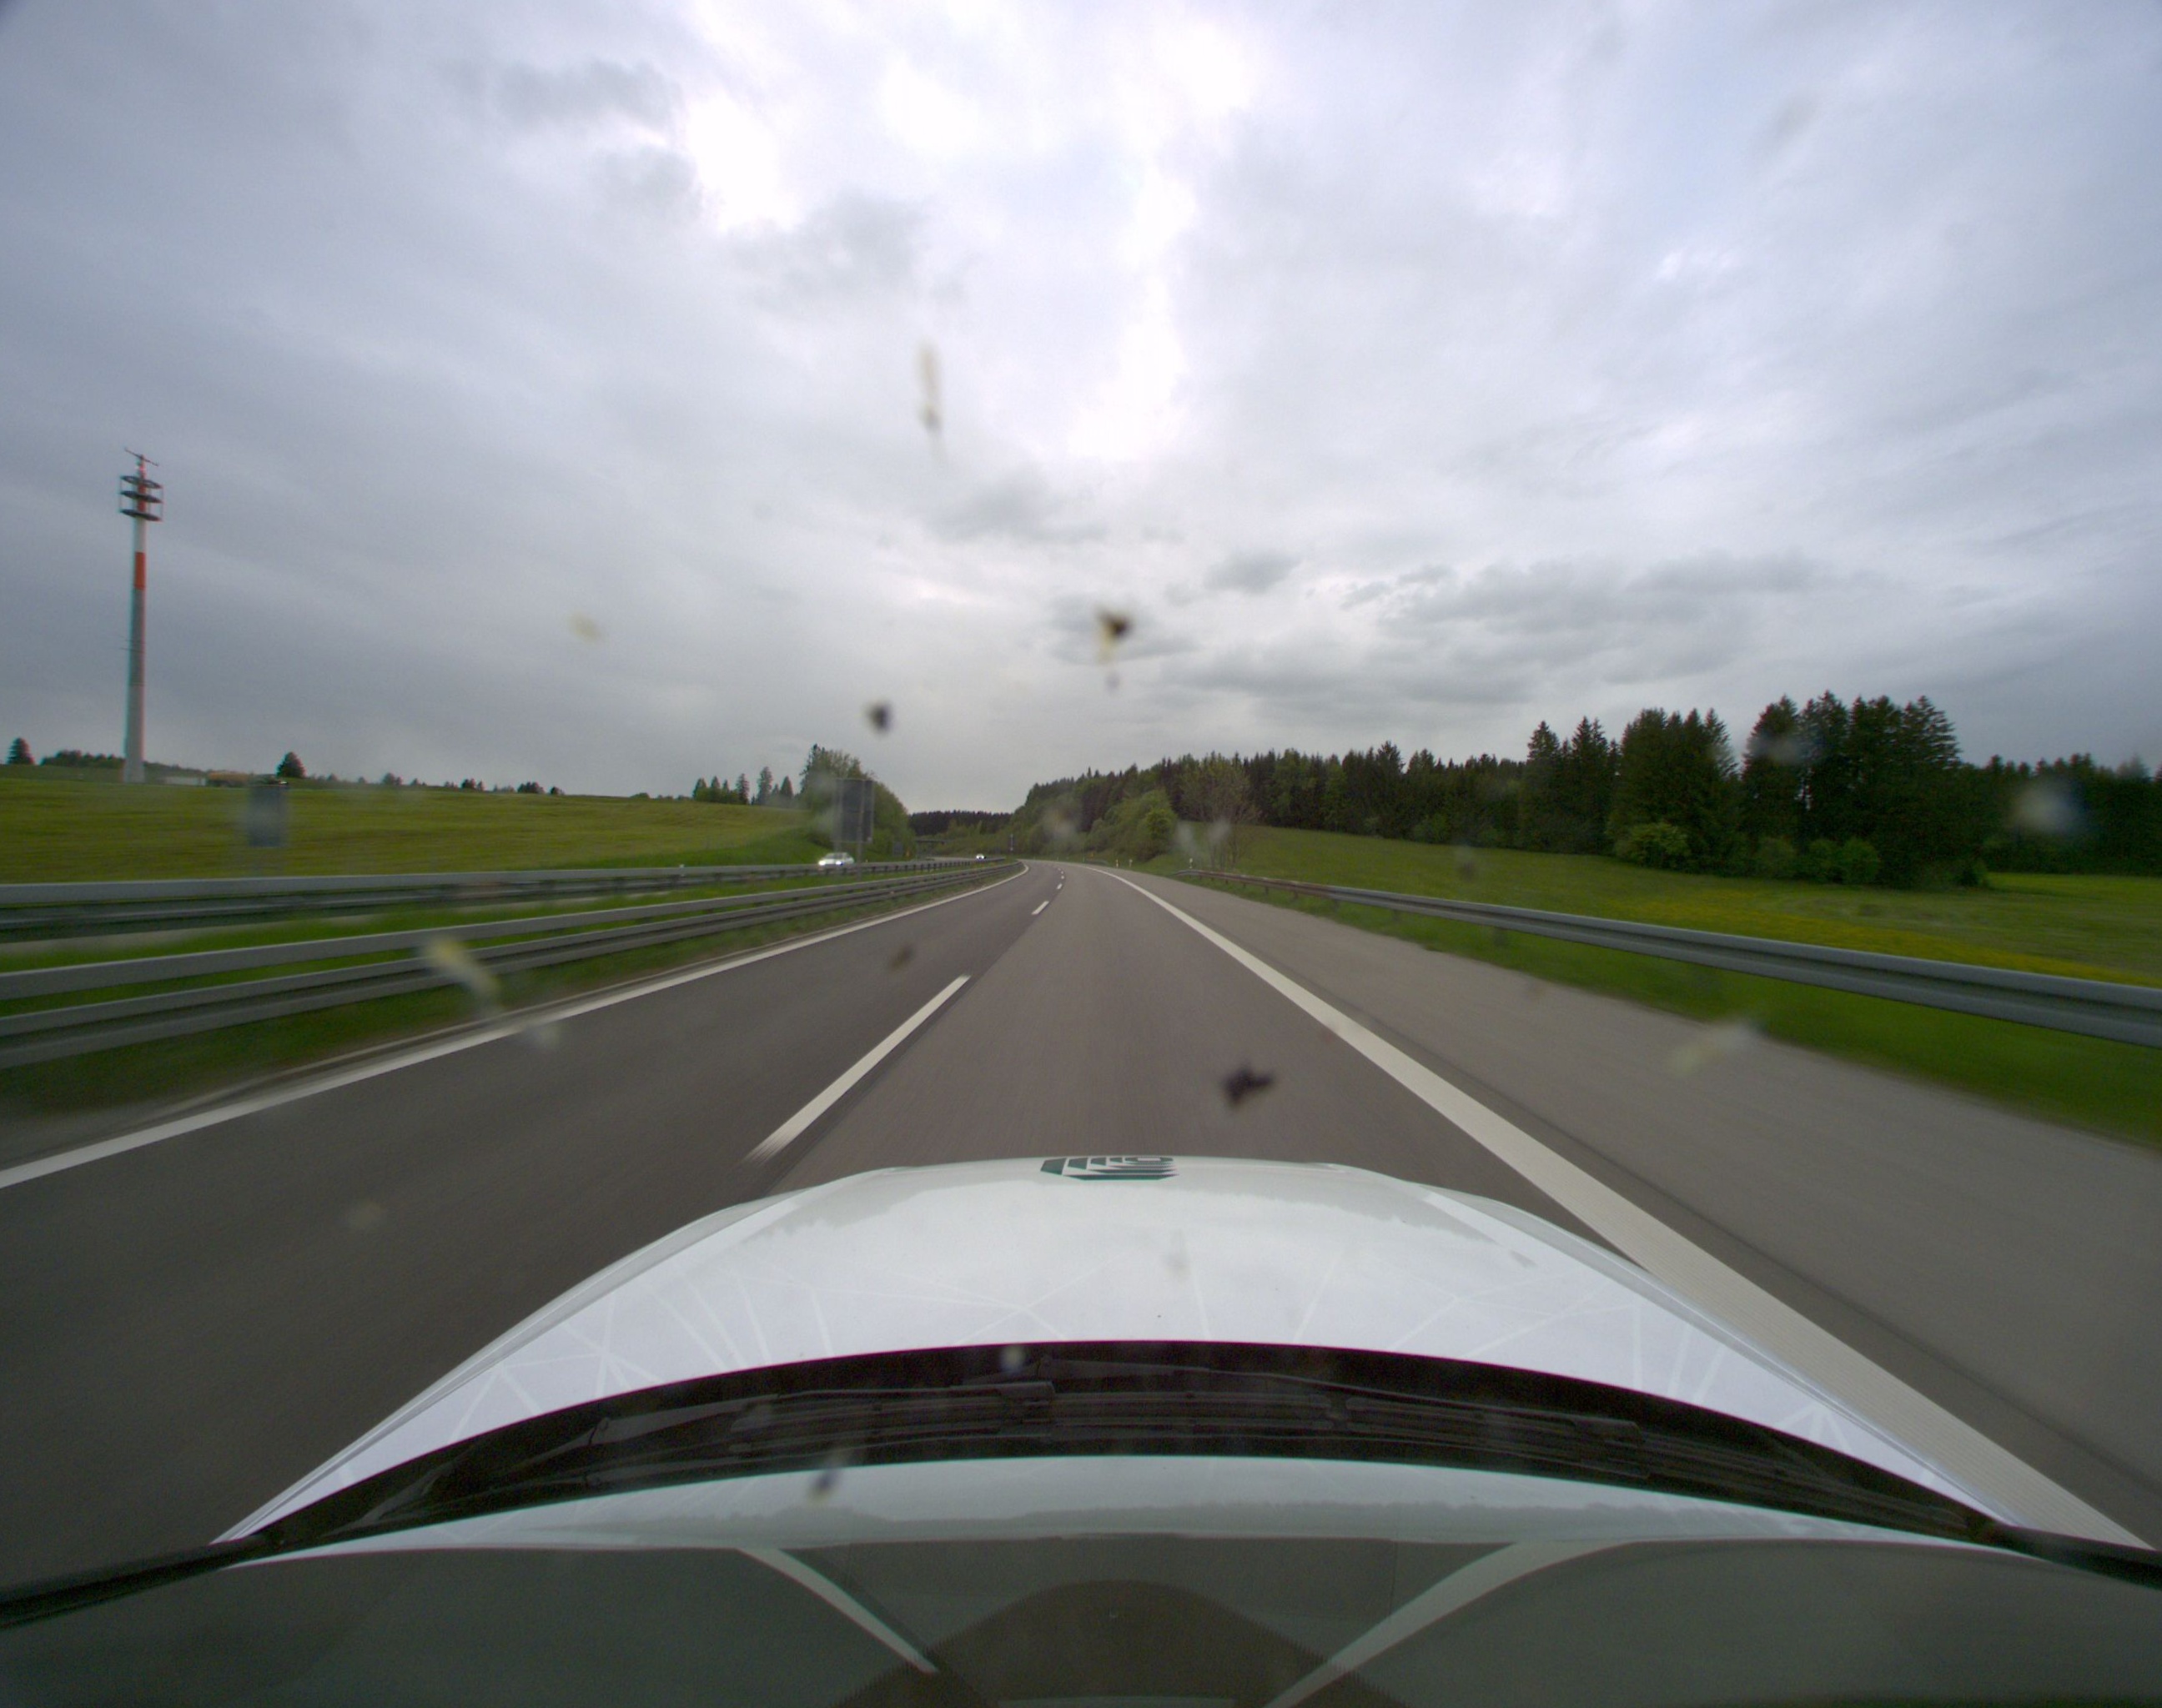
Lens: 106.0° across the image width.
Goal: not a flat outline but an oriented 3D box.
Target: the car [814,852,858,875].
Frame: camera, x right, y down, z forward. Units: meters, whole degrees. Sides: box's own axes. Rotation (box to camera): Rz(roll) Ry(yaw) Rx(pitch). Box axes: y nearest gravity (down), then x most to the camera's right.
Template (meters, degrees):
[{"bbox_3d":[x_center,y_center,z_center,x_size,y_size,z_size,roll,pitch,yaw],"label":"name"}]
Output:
[{"bbox_3d":[-19.882,0.703,66.341,2.029,1.690,5.052,3,0,-1],"label":"car"}]

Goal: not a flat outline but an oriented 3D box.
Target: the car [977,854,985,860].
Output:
[{"bbox_3d":[-26.402,0.676,215.045,1.992,1.429,4.452,3,0,-7],"label":"car"}]
